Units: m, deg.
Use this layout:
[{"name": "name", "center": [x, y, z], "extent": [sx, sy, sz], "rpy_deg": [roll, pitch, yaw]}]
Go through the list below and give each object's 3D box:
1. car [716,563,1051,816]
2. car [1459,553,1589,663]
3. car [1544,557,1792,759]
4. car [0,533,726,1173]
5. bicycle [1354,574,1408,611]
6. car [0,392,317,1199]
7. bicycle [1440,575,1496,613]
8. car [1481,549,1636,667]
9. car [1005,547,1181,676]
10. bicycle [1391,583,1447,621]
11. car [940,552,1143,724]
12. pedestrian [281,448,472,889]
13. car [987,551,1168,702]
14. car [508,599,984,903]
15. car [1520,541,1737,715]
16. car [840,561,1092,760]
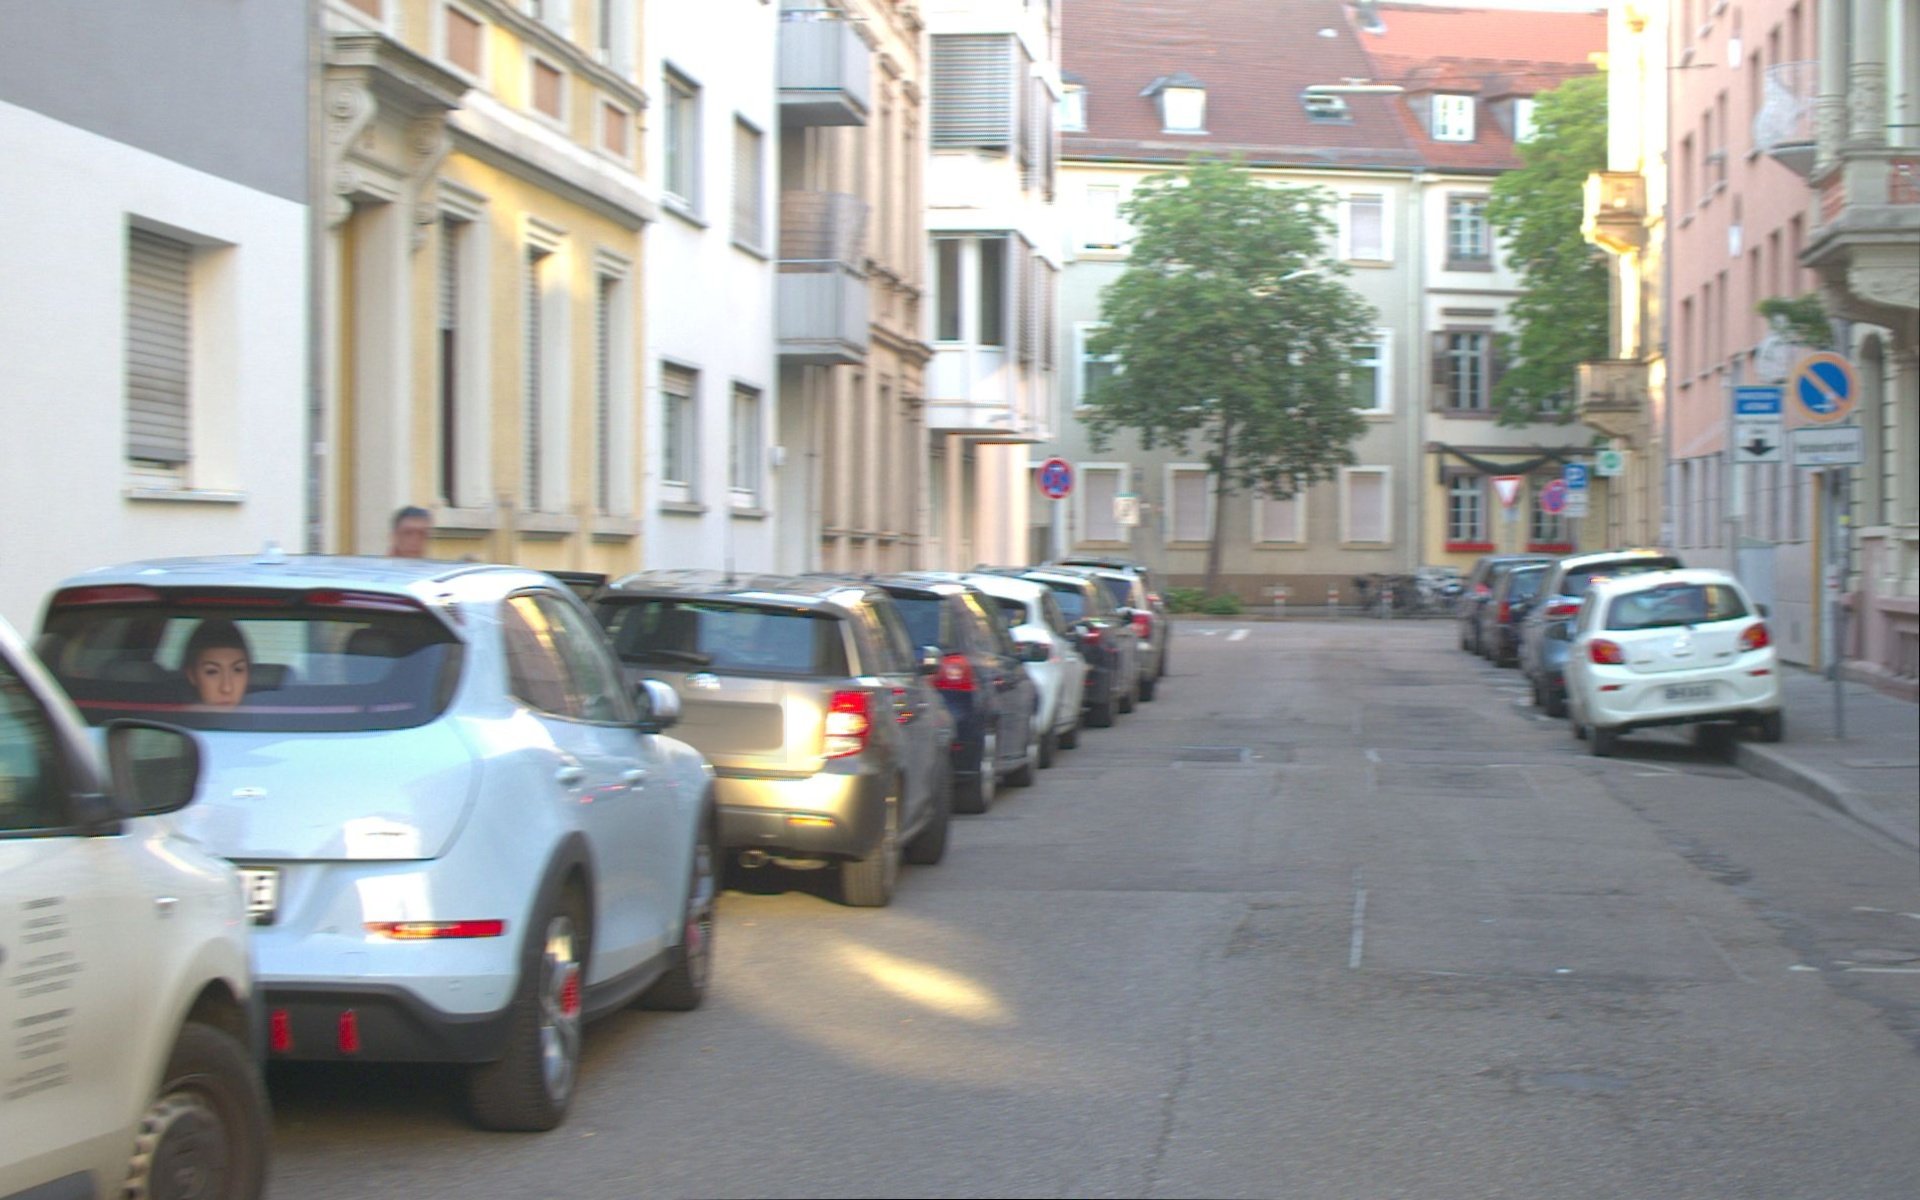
[{"name": "car", "center": [-0.428, 0.527, 23.039], "extent": [1.728, 1.504, 3.829], "rpy_deg": [0, 1, 7]}, {"name": "car", "center": [9.300, 0.103, 56.920], "extent": [1.994, 1.755, 3.999], "rpy_deg": [0, 1, 8]}, {"name": "car", "center": [6.084, 0.454, 29.885], "extent": [1.662, 1.454, 3.758], "rpy_deg": [-6, 1, 7]}, {"name": "car", "center": [-1.855, 0.597, 10.853], "extent": [1.763, 1.558, 4.366], "rpy_deg": [0, 2, 2]}, {"name": "bicycle", "center": [10.878, -0.200, 88.794], "extent": [0.518, 0.945, 1.725], "rpy_deg": [0, 1, -26]}, {"name": "car", "center": [-2.451, 0.556, 5.641], "extent": [1.631, 1.807, 4.184], "rpy_deg": [0, 1, 6]}, {"name": "bicycle", "center": [12.957, -0.167, 87.702], "extent": [0.518, 0.945, 1.725], "rpy_deg": [0, 1, -26]}, {"name": "car", "center": [8.965, 0.095, 51.732], "extent": [1.994, 1.703, 3.999], "rpy_deg": [0, 1, 6]}, {"name": "car", "center": [1.844, 0.126, 46.313], "extent": [1.994, 1.657, 3.976], "rpy_deg": [0, 1, 8]}, {"name": "bicycle", "center": [11.640, 0.040, 87.237], "extent": [0.518, 0.891, 1.725], "rpy_deg": [-1, 2, -26]}, {"name": "car", "center": [0.870, 0.321, 34.033], "extent": [1.615, 1.565, 4.302], "rpy_deg": [0, 1, 7]}, {"name": "pedestrian", "center": [-2.709, 0.307, 16.035], "extent": [0.797, 2.007, 0.776], "rpy_deg": [0, 1, -3]}, {"name": "car", "center": [1.424, 0.258, 40.093], "extent": [1.994, 1.661, 4.409], "rpy_deg": [0, 1, 3]}, {"name": "car", "center": [-0.938, 0.660, 17.224], "extent": [1.684, 1.327, 4.130], "rpy_deg": [0, 0, 6]}, {"name": "car", "center": [6.992, 0.250, 36.285], "extent": [1.994, 1.726, 4.058], "rpy_deg": [0, 1, 7]}, {"name": "car", "center": [0.112, 0.437, 28.035], "extent": [1.630, 1.467, 3.753], "rpy_deg": [0, 1, 7]}]
